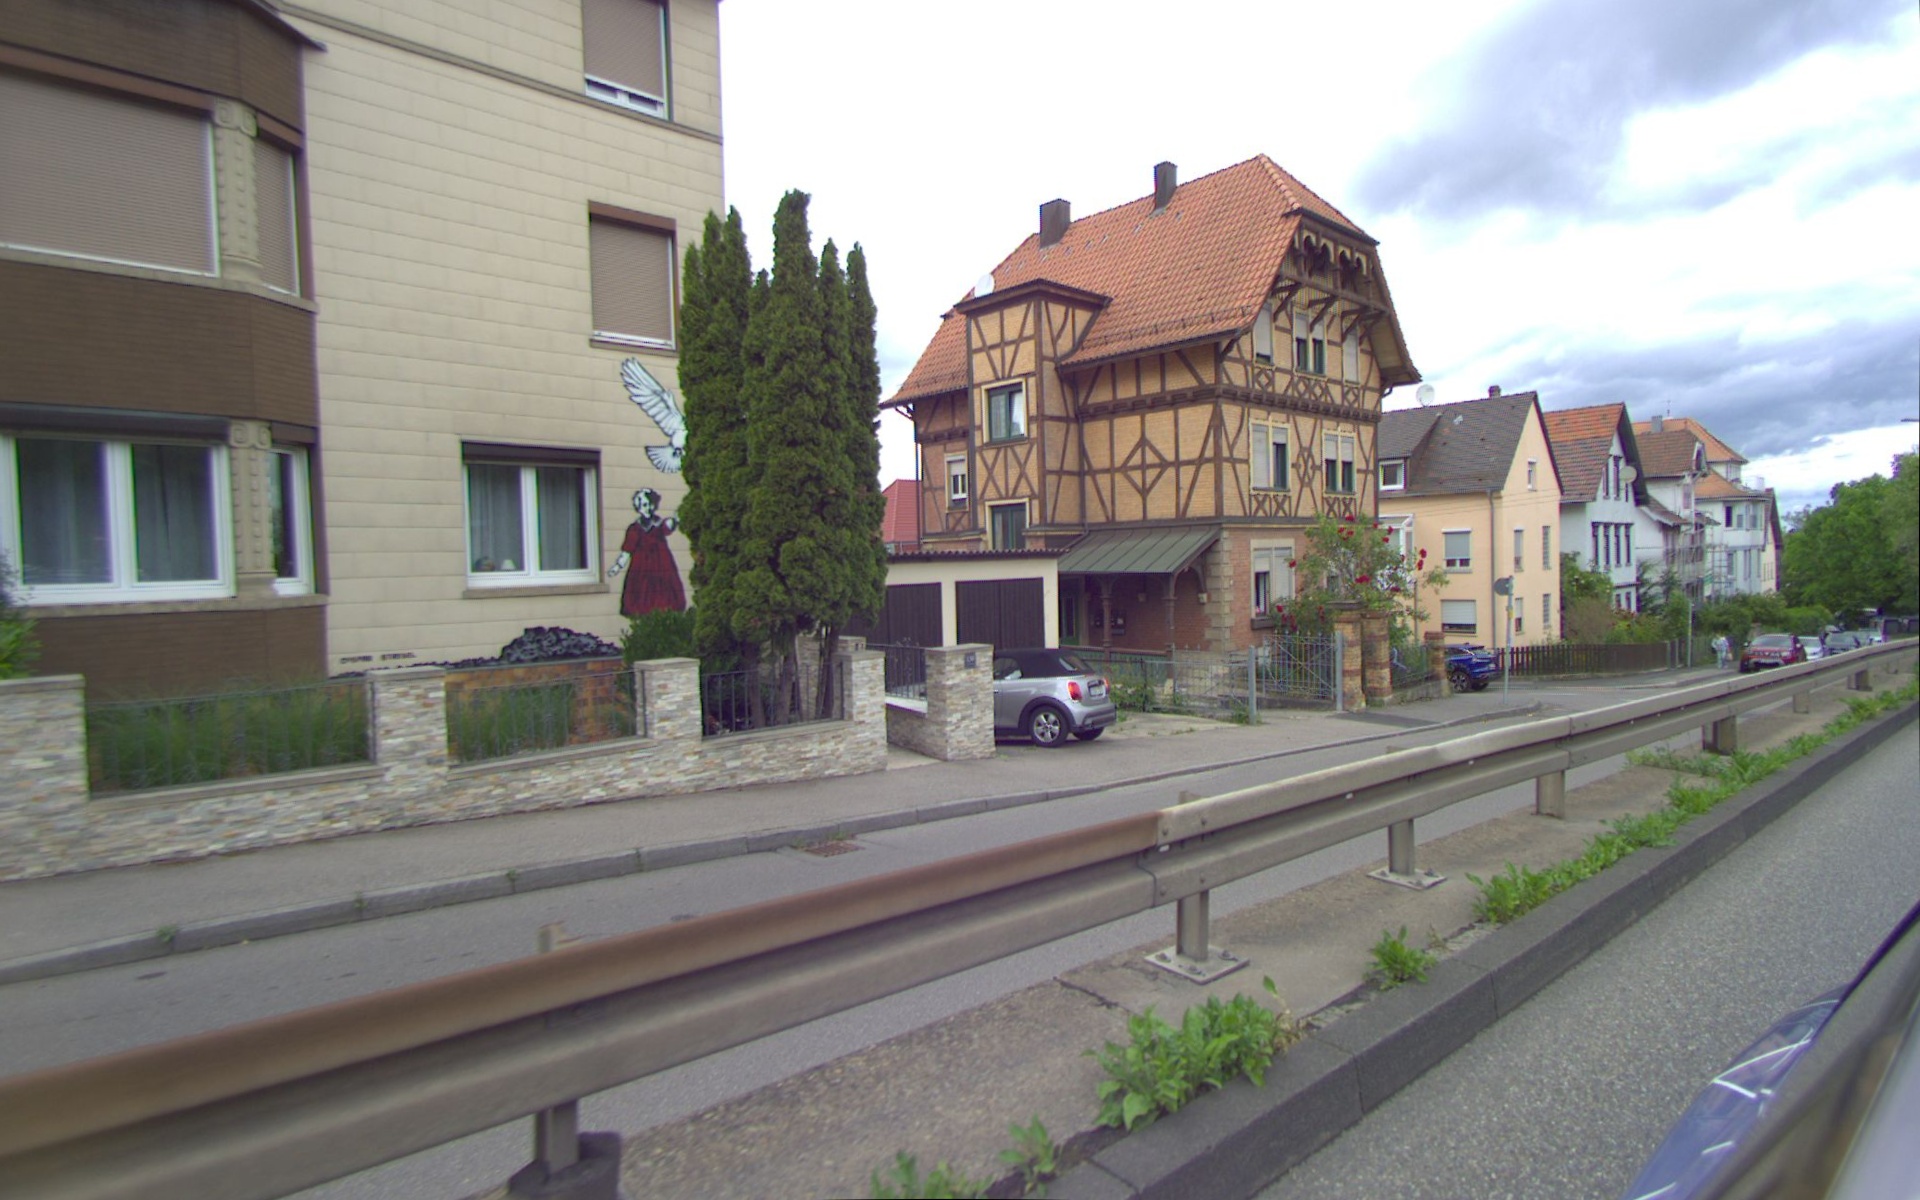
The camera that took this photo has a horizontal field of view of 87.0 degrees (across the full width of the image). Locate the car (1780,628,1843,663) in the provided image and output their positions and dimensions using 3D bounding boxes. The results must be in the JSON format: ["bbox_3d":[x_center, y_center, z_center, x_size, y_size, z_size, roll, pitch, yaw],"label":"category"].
[{"bbox_3d":[40.887,2.145,48.584,3.933,1.518,1.919,1,-1,-44],"label":"car"}]

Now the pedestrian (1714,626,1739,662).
[{"bbox_3d":[31.845,1.826,42.057,0.683,1.490,0.712,1,-2,-44],"label":"pedestrian"}]

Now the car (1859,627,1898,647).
[{"bbox_3d":[67.658,2.704,74.536,3.933,1.380,1.847,1,-1,-44],"label":"car"}]

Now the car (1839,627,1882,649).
[{"bbox_3d":[59.658,2.492,67.016,3.933,1.380,1.847,1,-1,-44],"label":"car"}]

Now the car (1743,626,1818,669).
[{"bbox_3d":[34.128,1.929,42.069,3.933,1.672,1.919,1,-1,-44],"label":"car"}]

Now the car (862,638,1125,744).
[{"bbox_3d":[0.478,1.424,15.708,3.764,1.423,1.530,-5,-4,30],"label":"car"}]

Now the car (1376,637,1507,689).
[{"bbox_3d":[16.392,2.094,34.574,3.784,1.583,1.522,-1,-1,43],"label":"car"}]

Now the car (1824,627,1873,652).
[{"bbox_3d":[52.451,2.300,59.702,3.933,1.380,1.847,1,-1,-44],"label":"car"}]
